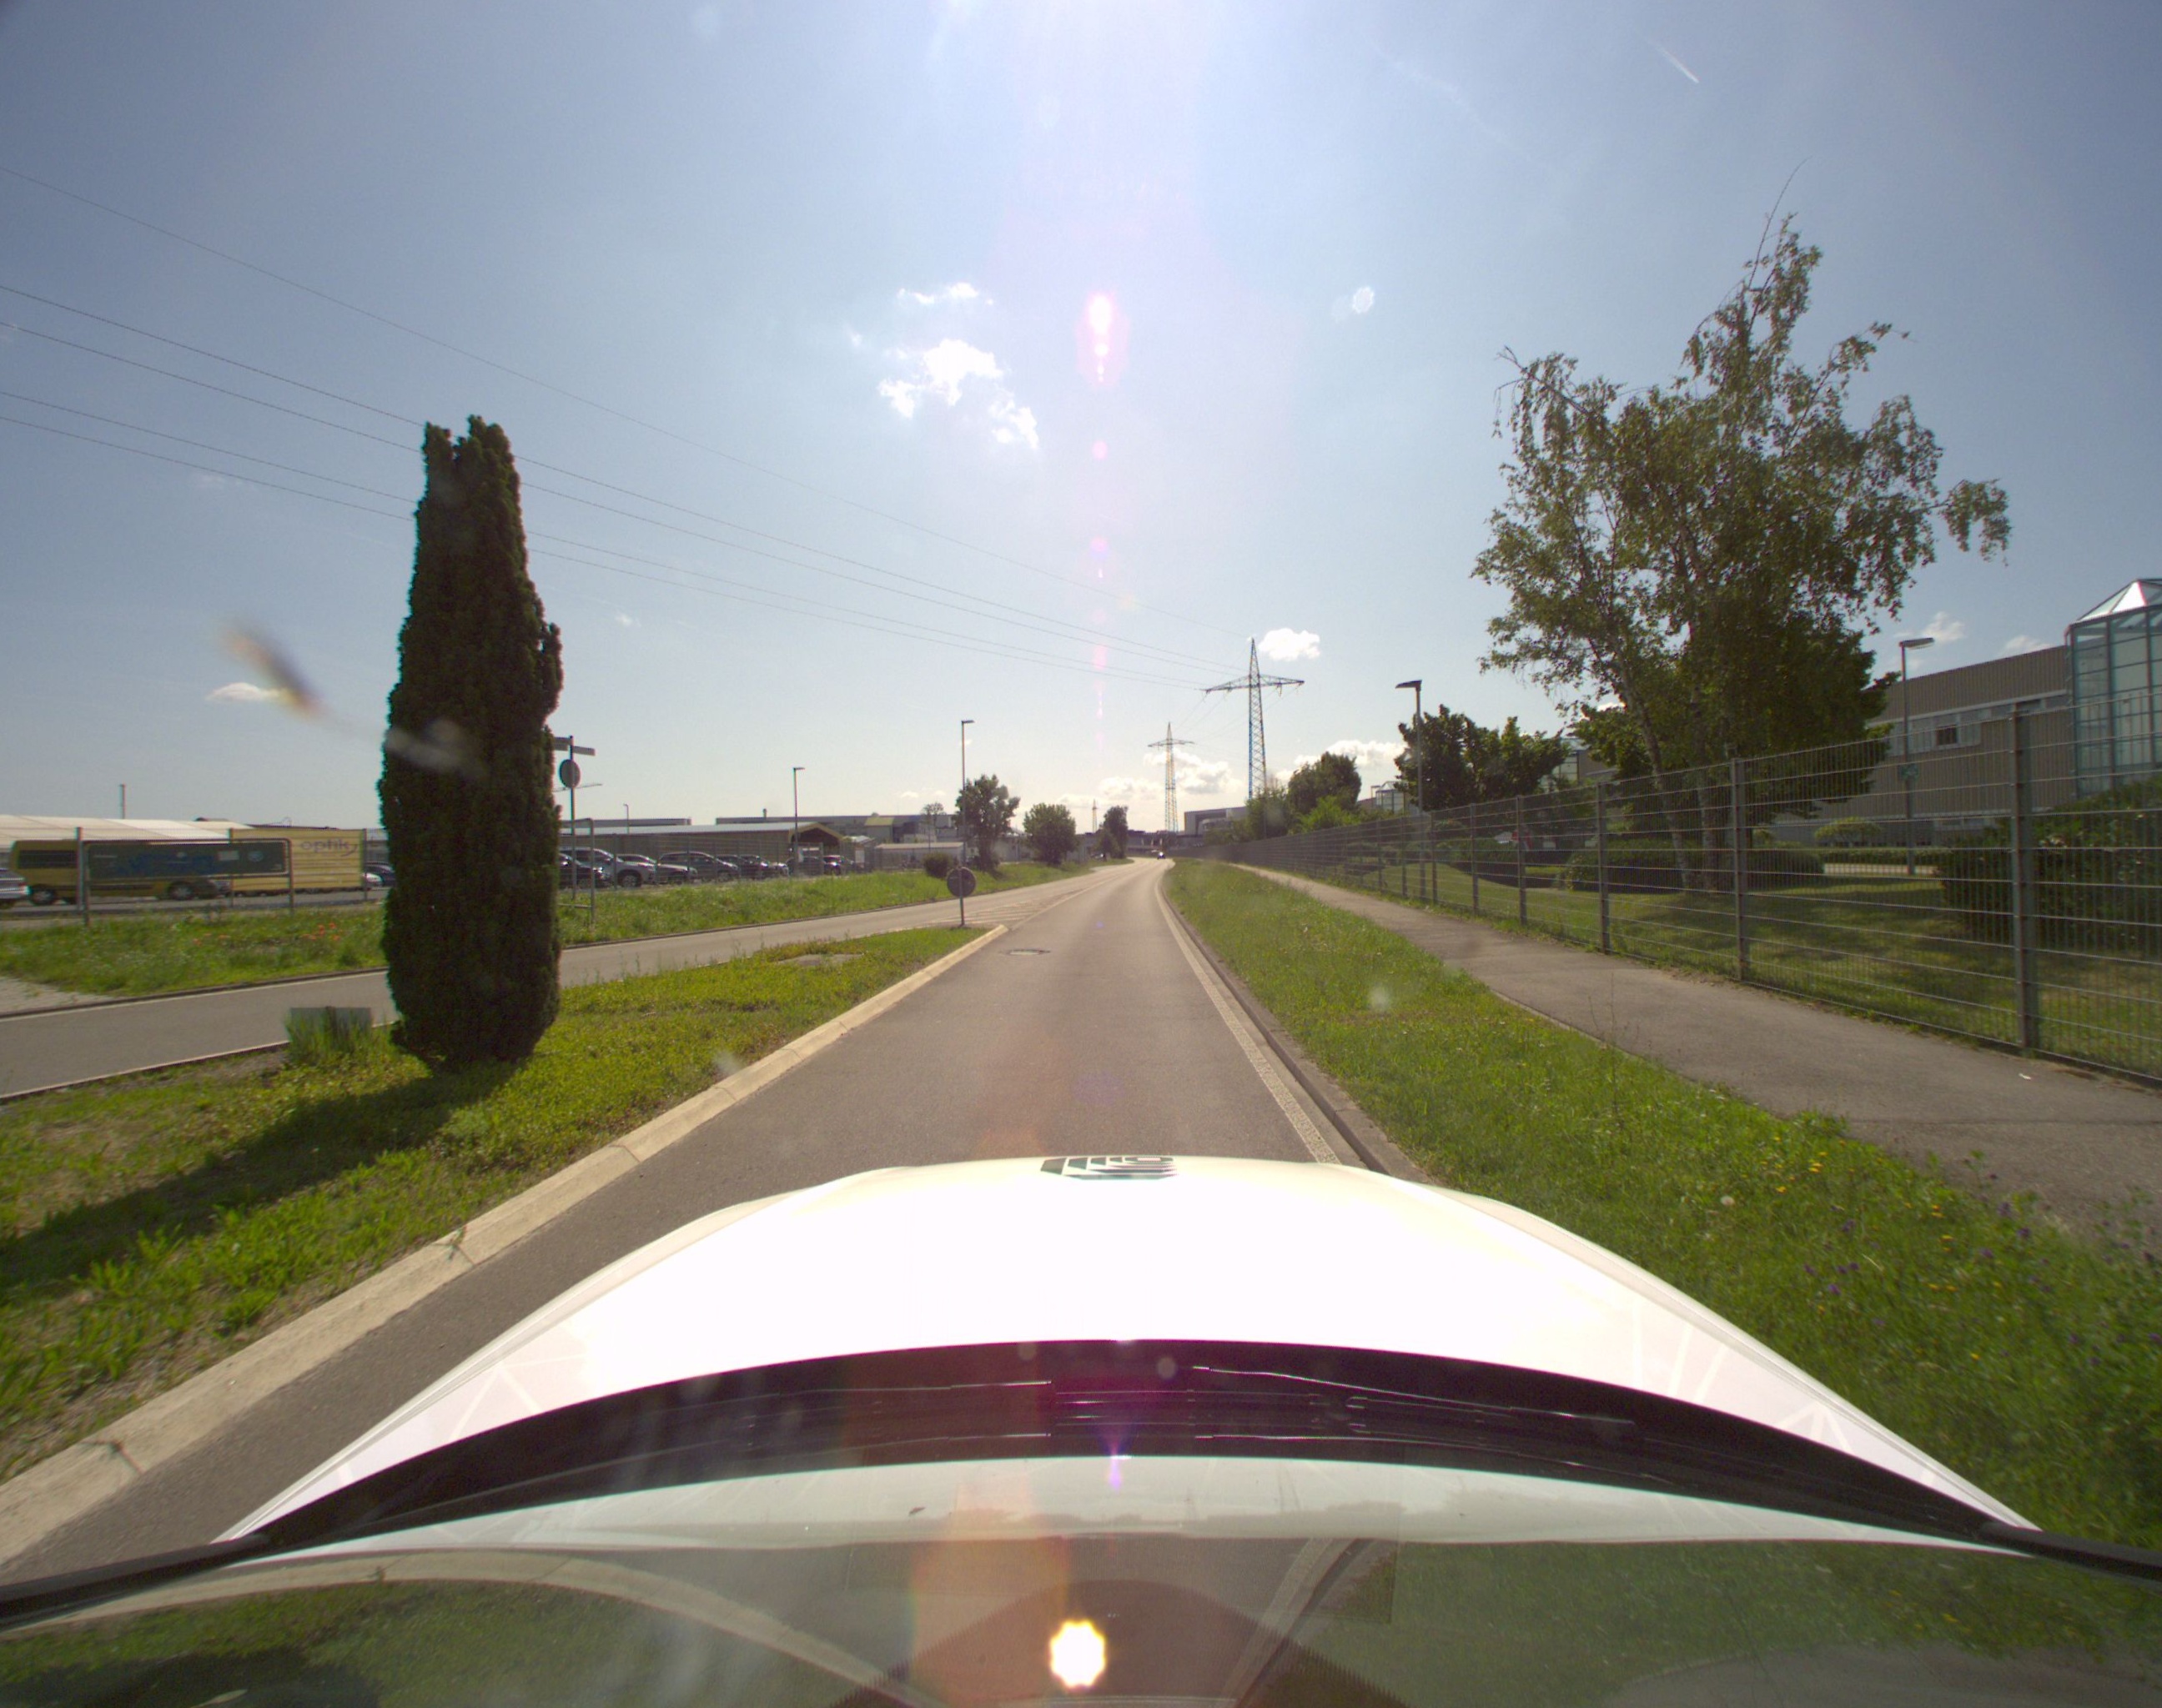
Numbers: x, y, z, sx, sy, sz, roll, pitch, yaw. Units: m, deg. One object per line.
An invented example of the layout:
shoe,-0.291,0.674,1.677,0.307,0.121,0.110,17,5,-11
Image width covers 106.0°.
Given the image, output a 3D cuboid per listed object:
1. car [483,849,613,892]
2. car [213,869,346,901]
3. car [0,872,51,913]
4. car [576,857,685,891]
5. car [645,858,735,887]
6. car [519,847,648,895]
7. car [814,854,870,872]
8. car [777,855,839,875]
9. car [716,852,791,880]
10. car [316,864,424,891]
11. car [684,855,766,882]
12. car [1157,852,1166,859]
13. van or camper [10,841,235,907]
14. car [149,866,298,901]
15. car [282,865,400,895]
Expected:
car,-18.947,0.554,29.147,3.572,1.401,1.788,-1,0,-22
car,-37.330,1.412,38.080,4.008,1.310,1.926,-1,0,-27
car,-37.398,1.320,27.064,3.969,1.310,2.002,-1,0,4
car,-19.396,0.823,35.253,4.008,1.310,1.926,-1,0,-27
car,-19.630,0.897,40.974,4.008,1.310,1.926,-1,0,-27
car,-19.395,0.635,31.971,4.117,1.704,1.708,-1,0,-27
car,-18.998,0.728,64.673,4.008,1.310,1.926,-1,0,-27
car,-19.490,0.739,58.173,4.008,1.310,1.926,-1,0,-27
car,-19.457,0.684,48.372,4.008,1.540,1.926,-1,0,-27
car,-38.385,1.238,44.083,4.008,1.310,1.926,-1,0,-27
car,-19.525,0.782,44.752,4.006,1.310,1.927,-1,0,-25
car,18.673,0.433,189.097,2.003,1.508,4.004,-1,0,4
van or camper,-37.318,0.712,31.947,5.352,2.375,1.878,-1,-1,-27
car,-37.085,1.239,35.382,4.008,1.310,1.926,-1,0,-27
car,-37.391,1.288,41.267,4.008,1.310,1.926,-1,0,-27
